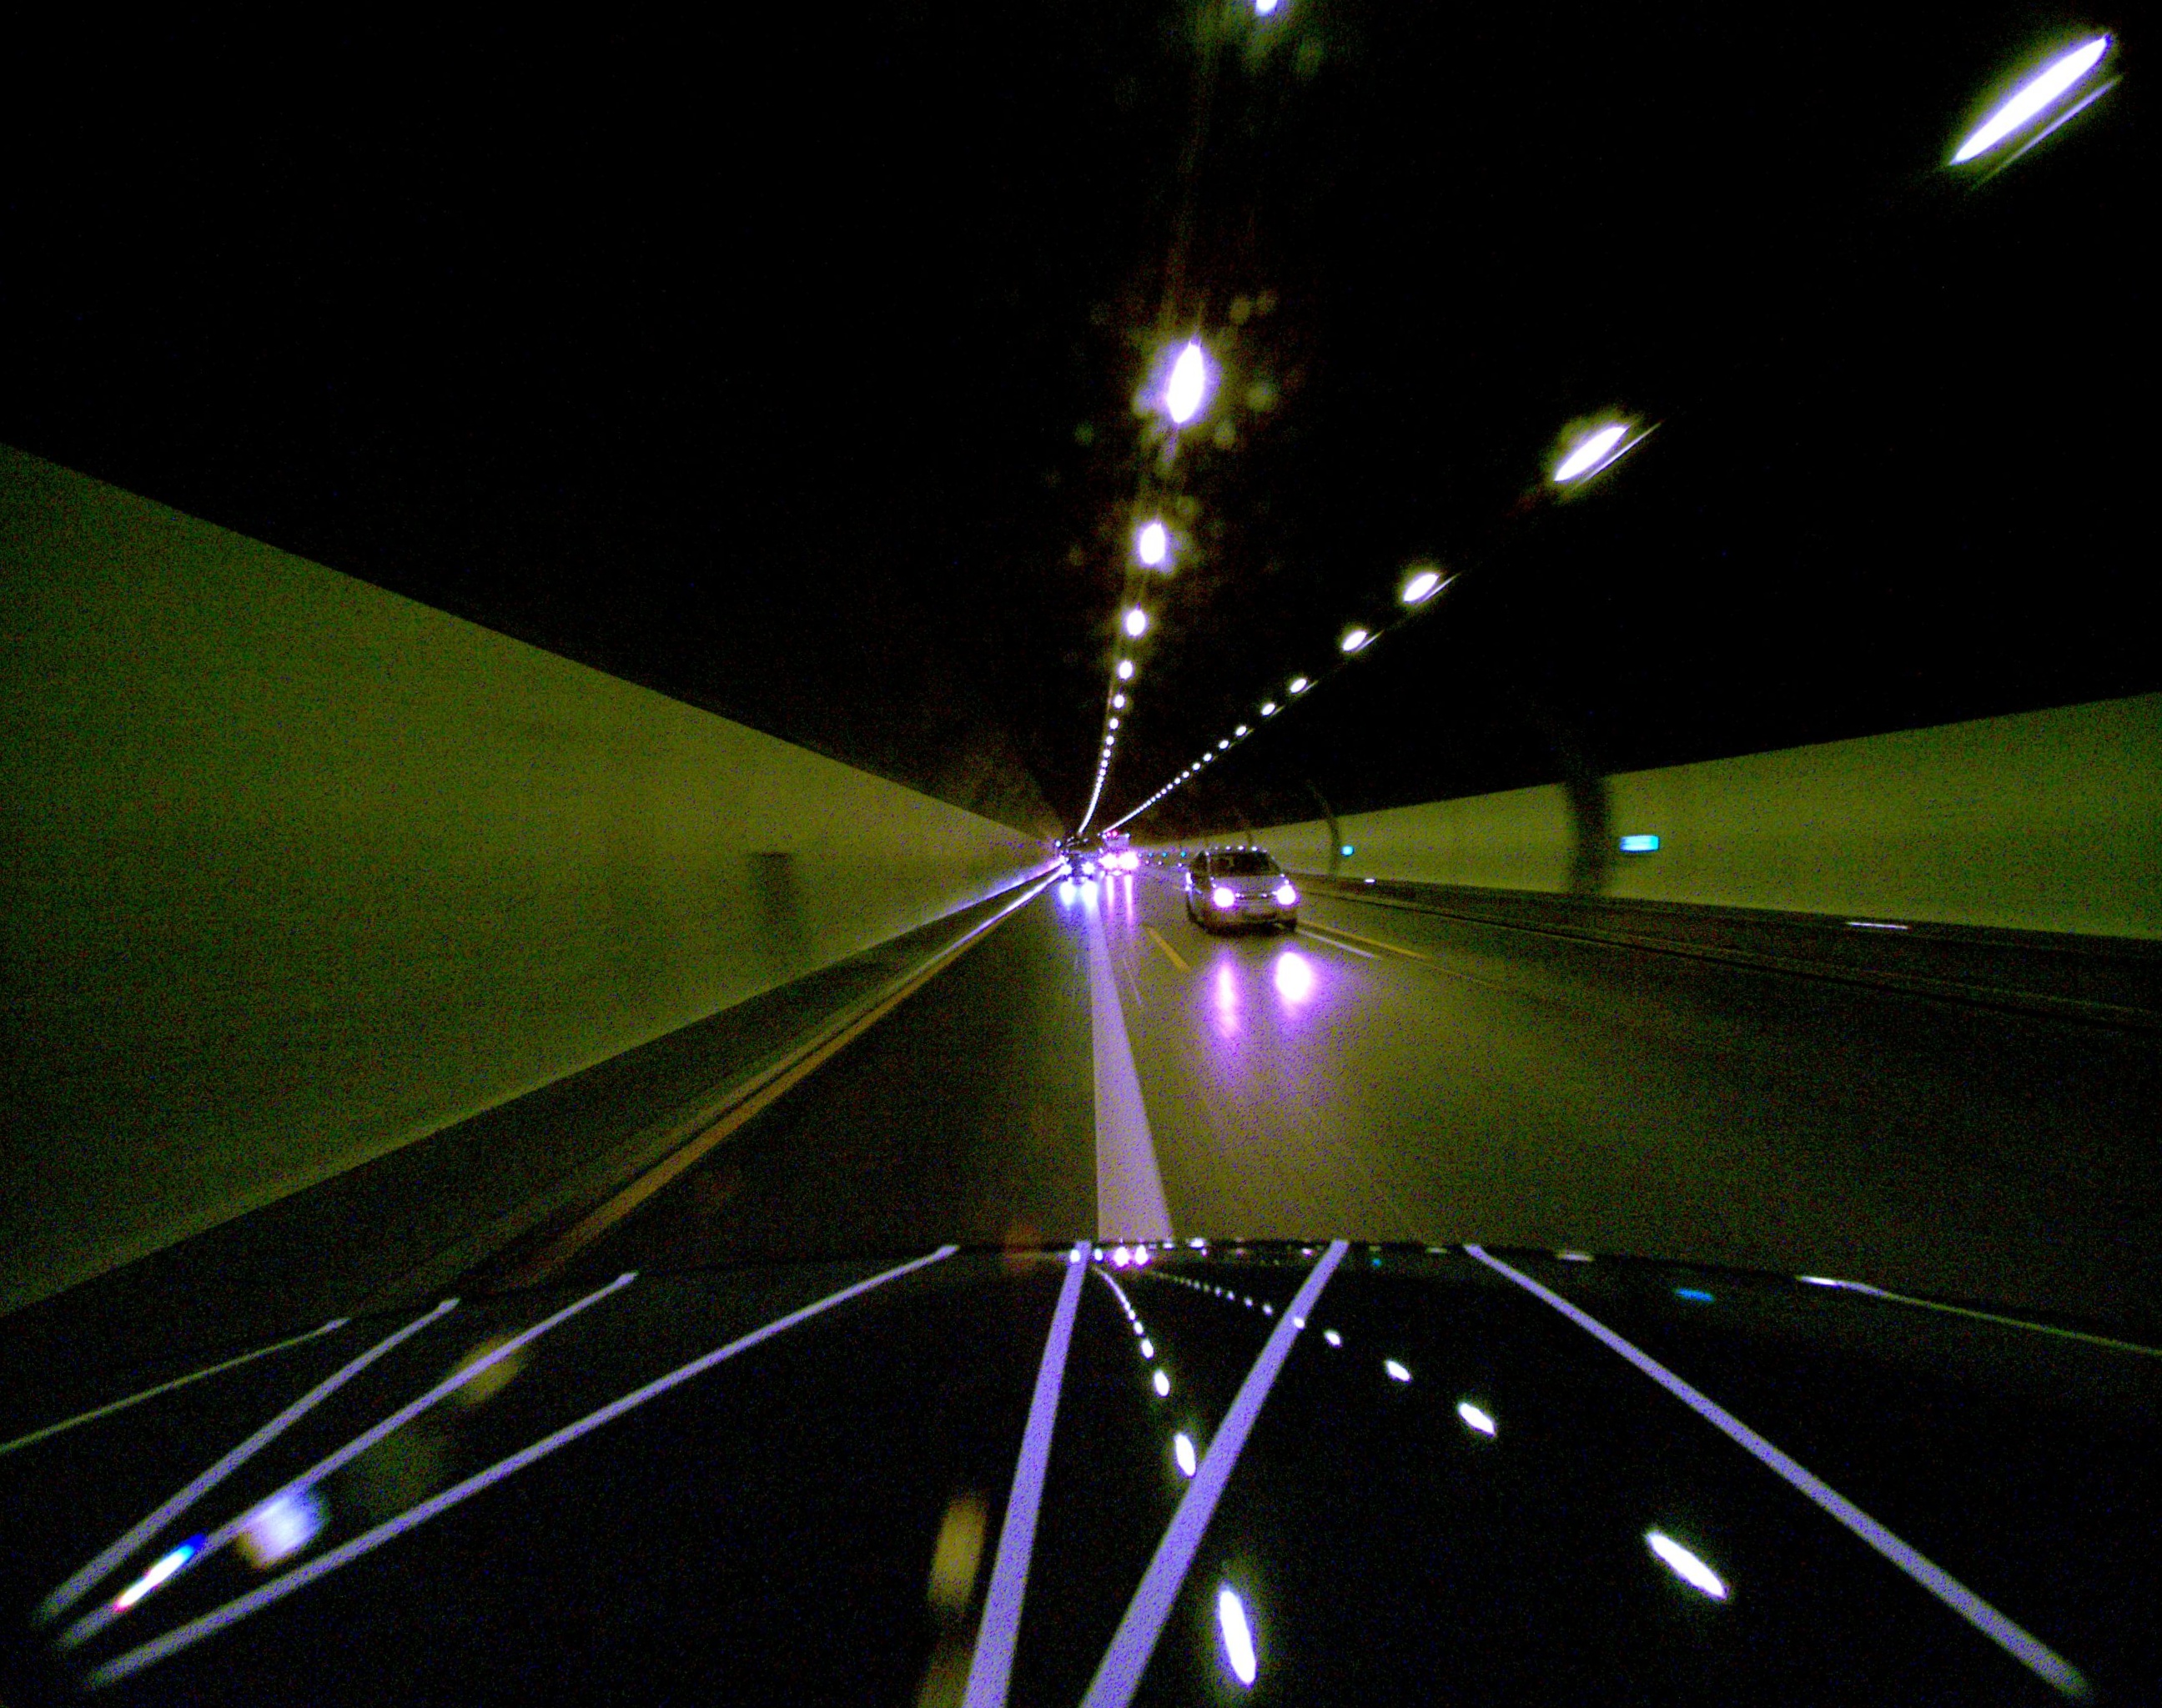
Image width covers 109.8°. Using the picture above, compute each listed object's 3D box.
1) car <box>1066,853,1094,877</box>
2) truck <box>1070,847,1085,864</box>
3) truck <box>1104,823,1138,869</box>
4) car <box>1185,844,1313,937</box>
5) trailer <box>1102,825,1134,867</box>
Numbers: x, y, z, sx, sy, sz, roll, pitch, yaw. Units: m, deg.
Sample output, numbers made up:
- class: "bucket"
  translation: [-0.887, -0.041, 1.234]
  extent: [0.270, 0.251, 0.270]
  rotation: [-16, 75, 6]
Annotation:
- class: "car"
  translation: [-0.061, 0.707, 50.931]
  extent: [1.728, 1.474, 4.000]
  rotation: [-2, 0, 0]
- class: "truck"
  translation: [-0.639, 0.275, 129.141]
  extent: [2.151, 2.609, 9.906]
  rotation: [-2, -1, -2]
- class: "truck"
  translation: [3.185, -0.634, 61.029]
  extent: [2.374, 3.328, 4.719]
  rotation: [-4, 1, 2]
- class: "car"
  translation: [3.216, 0.613, 15.346]
  extent: [1.766, 1.563, 4.097]
  rotation: [-2, 1, 2]
- class: "trailer"
  translation: [3.173, -0.653, 67.627]
  extent: [2.374, 3.328, 12.078]
  rotation: [-1, 0, 1]
